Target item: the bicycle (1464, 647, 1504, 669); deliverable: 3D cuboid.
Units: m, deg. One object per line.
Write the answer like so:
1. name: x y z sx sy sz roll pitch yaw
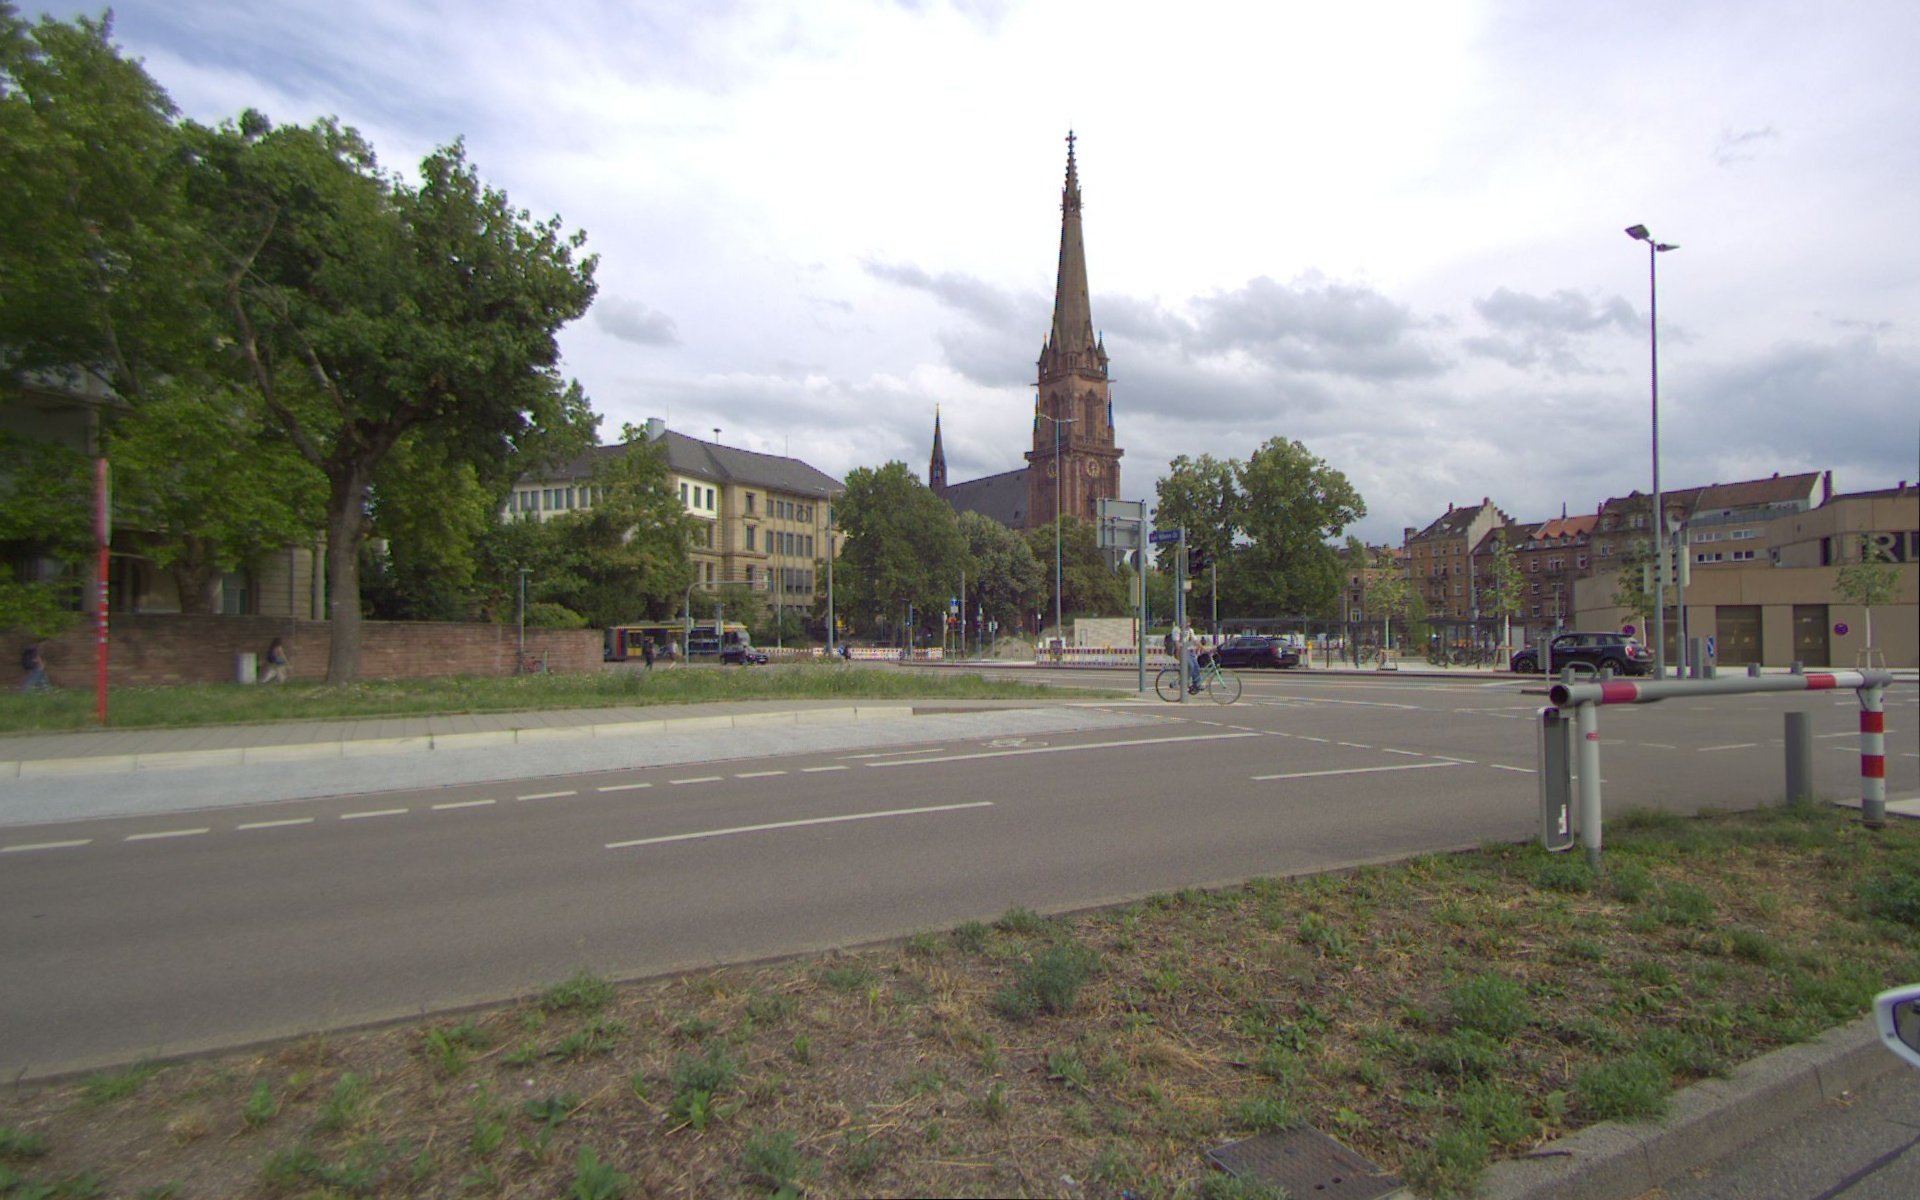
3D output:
1. bicycle: 29.857 3.279 57.219 1.926 1.171 0.584 1 -1 12

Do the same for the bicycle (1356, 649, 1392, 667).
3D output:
1. bicycle: 24.338 3.387 59.057 1.927 0.967 0.584 1 -1 18

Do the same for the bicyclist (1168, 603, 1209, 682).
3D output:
1. bicyclist: 4.717 0.879 20.714 0.782 1.575 0.580 1 -2 13

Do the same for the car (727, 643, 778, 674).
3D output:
1. car: -15.319 4.274 74.025 1.984 2.040 3.953 2 -1 -40

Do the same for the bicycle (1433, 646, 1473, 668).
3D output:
1. bicycle: 27.765 3.226 56.576 1.926 1.171 0.584 1 -1 12

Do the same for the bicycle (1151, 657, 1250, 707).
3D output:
1. bicycle: 4.925 1.675 20.649 1.932 0.948 0.506 1 -3 13

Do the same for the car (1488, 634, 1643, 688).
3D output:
1. car: 19.369 1.890 32.218 3.946 1.506 1.988 0 -1 45

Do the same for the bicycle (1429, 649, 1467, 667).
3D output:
1. bicycle: 28.641 3.376 58.930 1.927 0.983 0.584 1 -1 18

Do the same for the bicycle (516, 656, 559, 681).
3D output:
1. bicycle: -18.749 3.039 44.608 0.763 1.018 1.927 1 -1 14

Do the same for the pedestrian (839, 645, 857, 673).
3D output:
1. pedestrian: -6.937 3.645 62.277 0.790 1.734 0.833 1 -1 -29

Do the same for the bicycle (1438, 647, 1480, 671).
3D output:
1. bicycle: 26.788 3.164 53.966 1.926 1.171 0.584 1 -1 12

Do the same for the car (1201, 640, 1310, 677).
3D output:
1. car: 12.574 2.462 42.957 1.978 1.379 4.236 2 -1 -32

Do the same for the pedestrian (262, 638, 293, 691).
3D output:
1. pedestrian: -22.510 2.117 33.119 0.521 1.676 0.629 1 -1 25

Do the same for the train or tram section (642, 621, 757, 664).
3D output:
1. train or tram section: -21.911 3.540 84.388 9.316 3.289 3.062 1 -1 21

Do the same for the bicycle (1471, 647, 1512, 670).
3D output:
1. bicycle: 29.530 3.249 55.799 1.926 1.171 0.584 1 -1 12

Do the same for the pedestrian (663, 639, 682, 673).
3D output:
1. pedestrian: -15.085 2.951 52.662 0.790 1.734 0.833 1 -1 -29

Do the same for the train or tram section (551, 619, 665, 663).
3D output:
1. train or tram section: -30.790 3.553 87.839 9.736 3.496 3.062 1 -1 21

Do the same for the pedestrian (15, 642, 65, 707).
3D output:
1. pedestrian: -24.391 1.964 26.652 0.566 1.676 0.782 1 -1 -1

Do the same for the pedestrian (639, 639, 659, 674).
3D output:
1. pedestrian: -15.493 2.804 49.990 0.790 1.734 0.833 1 -1 -29

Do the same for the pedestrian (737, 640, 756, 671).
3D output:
1. pedestrian: -12.149 3.158 57.173 0.790 1.734 0.833 1 -1 -29
